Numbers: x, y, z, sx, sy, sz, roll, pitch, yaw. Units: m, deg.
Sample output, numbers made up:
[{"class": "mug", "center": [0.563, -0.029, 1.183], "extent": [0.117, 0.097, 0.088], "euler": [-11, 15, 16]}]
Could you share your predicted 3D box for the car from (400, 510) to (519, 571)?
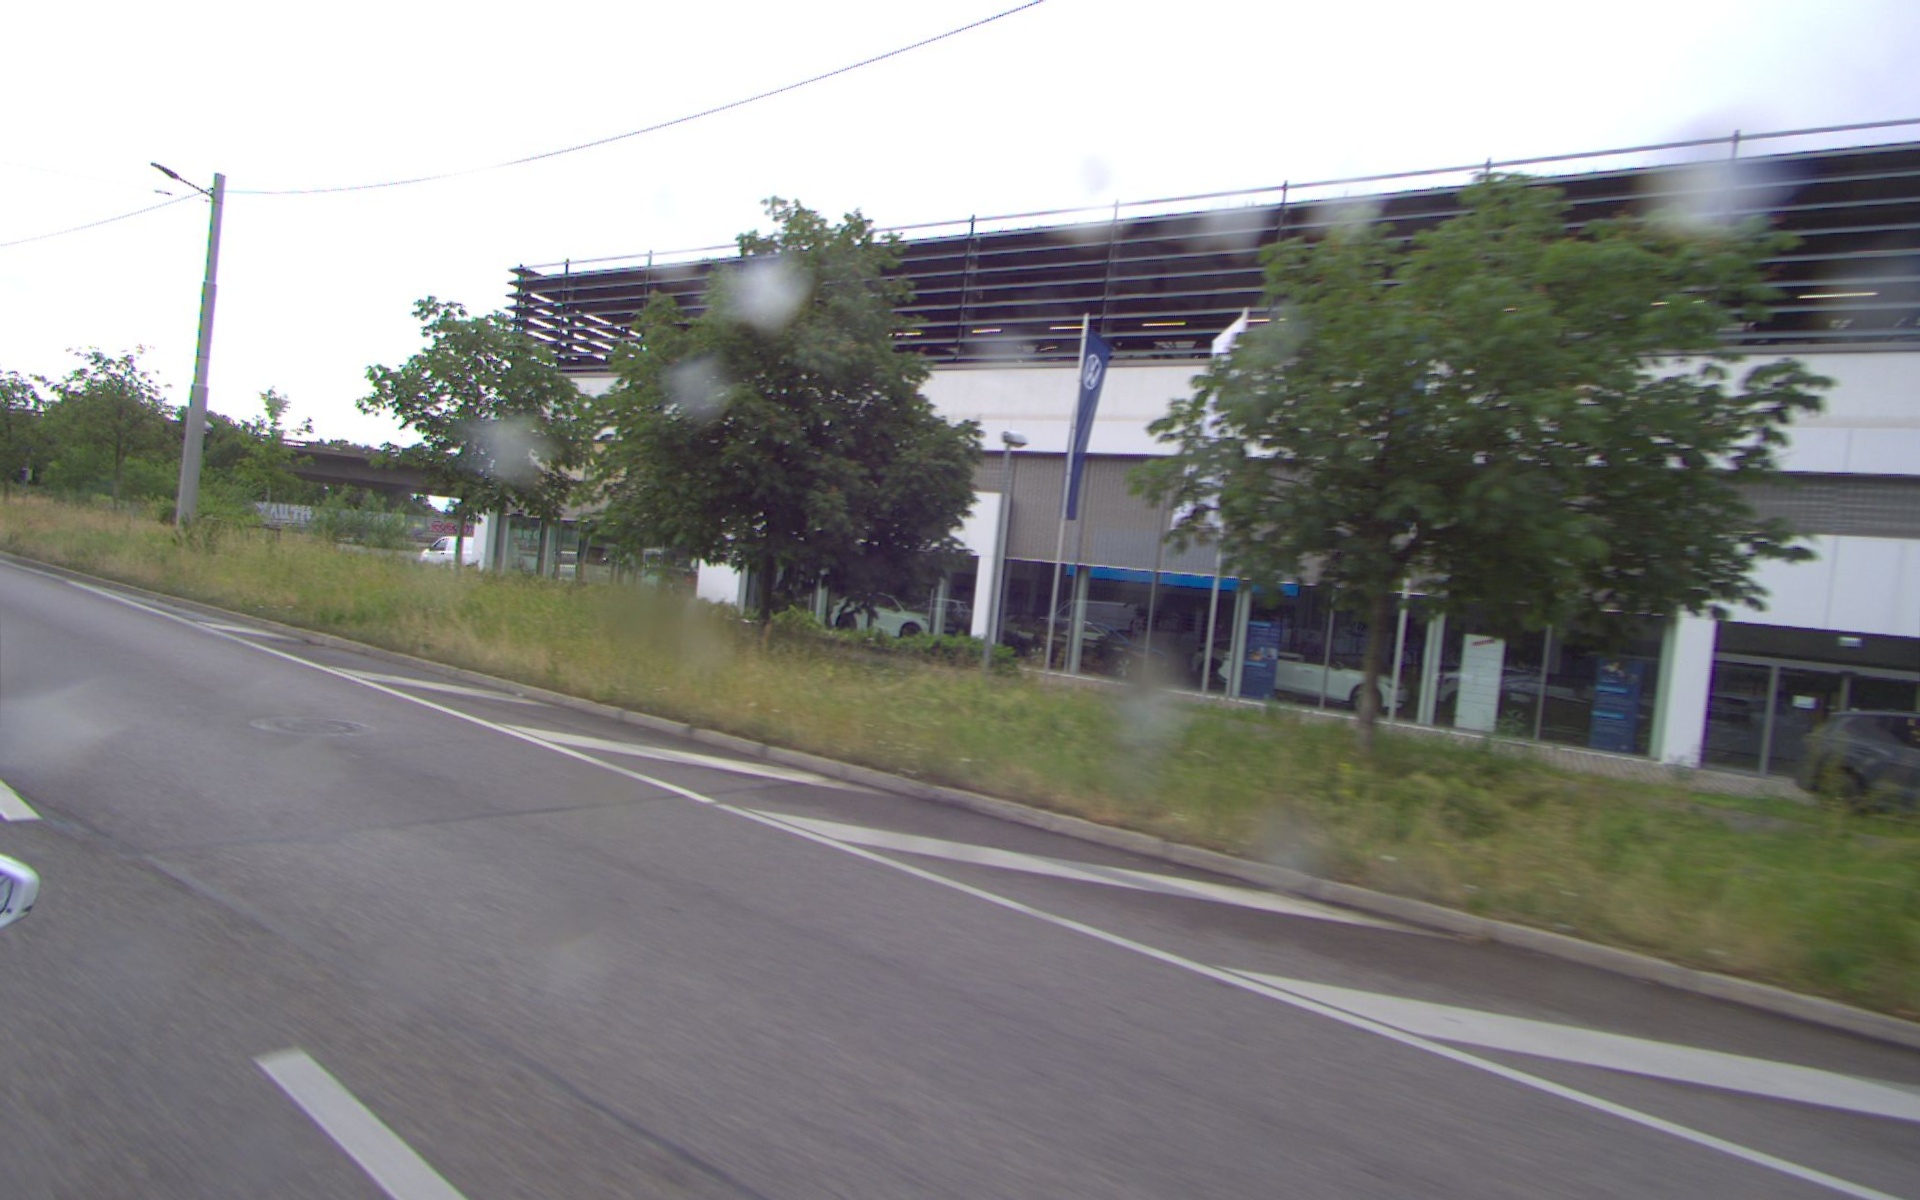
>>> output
[{"class": "car", "center": [-22.091, -2.622, 44.362], "extent": [5.002, 2.038, 2.048], "euler": [7, 0, 28]}]

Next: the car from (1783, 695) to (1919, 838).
[{"class": "car", "center": [13.286, 2.351, 12.732], "extent": [1.817, 1.589, 4.622], "euler": [5, 1, 1]}]

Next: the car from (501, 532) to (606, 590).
[{"class": "car", "center": [-19.461, -1.868, 48.114], "extent": [4.625, 2.074, 1.951], "euler": [7, -1, 28]}]
